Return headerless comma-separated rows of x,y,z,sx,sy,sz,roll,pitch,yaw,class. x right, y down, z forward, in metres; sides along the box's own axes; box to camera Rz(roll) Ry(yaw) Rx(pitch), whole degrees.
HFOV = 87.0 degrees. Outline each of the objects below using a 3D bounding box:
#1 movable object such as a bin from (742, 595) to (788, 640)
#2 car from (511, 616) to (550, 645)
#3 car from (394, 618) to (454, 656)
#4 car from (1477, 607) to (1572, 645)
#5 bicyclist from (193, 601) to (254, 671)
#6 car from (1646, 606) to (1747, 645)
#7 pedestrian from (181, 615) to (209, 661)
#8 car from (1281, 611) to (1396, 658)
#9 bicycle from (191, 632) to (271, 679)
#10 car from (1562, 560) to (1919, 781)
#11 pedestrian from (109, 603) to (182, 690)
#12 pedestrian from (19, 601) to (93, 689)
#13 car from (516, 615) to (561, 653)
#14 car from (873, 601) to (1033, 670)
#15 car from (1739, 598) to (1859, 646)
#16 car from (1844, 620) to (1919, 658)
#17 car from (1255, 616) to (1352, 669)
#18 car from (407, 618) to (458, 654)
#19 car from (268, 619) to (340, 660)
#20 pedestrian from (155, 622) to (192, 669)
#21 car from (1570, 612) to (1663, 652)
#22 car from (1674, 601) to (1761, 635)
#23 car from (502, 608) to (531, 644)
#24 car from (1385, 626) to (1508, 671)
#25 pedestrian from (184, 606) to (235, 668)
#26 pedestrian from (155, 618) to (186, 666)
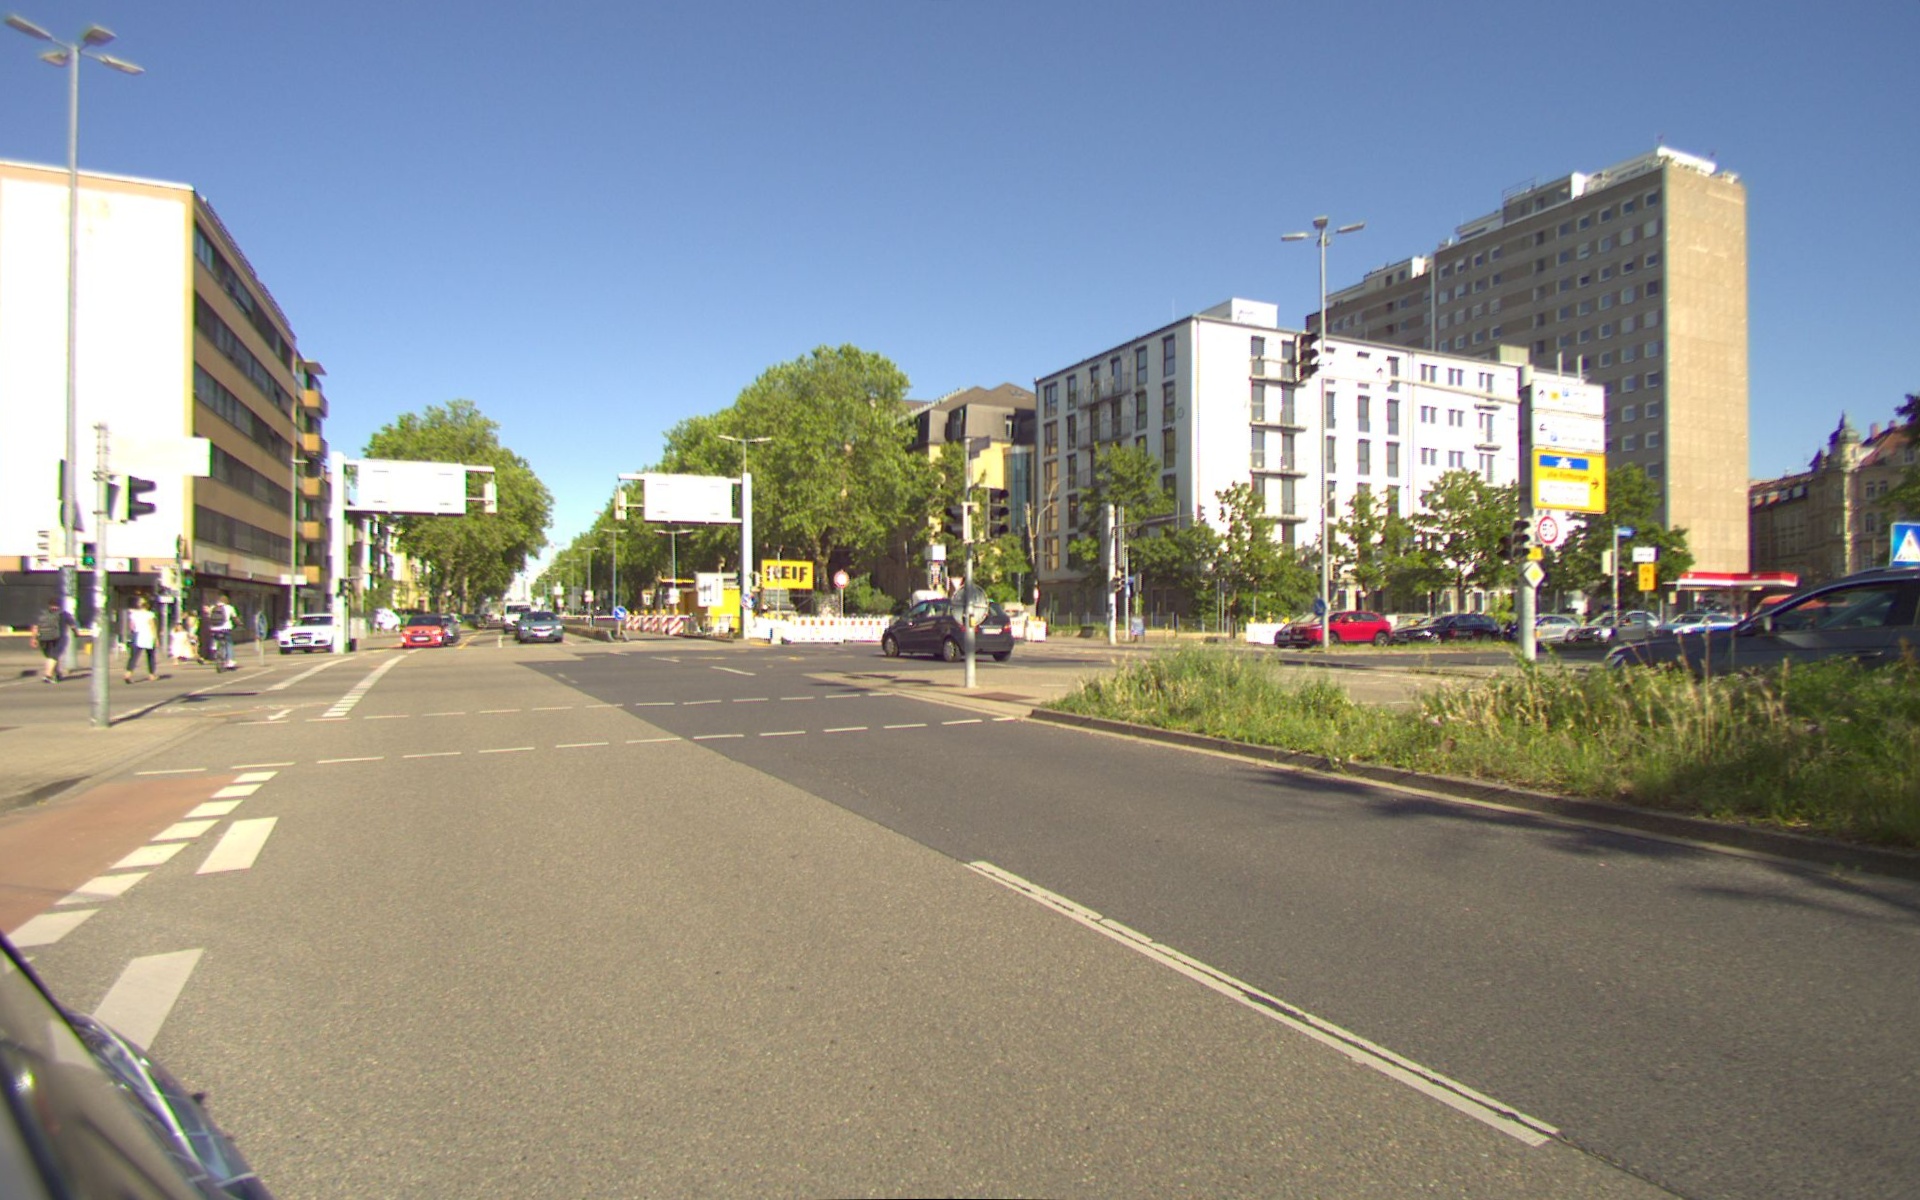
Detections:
-12.087,1.033,62.566,1.965,2.494,4.014,-1,2,-24,movable object such as a bin
-23.837,1.672,56.130,1.852,1.530,4.013,0,-1,-25,car
-23.876,1.606,45.168,1.852,1.530,4.013,-1,0,-21,car
27.089,1.209,48.577,3.931,1.630,1.925,-1,2,-22,car
-16.616,0.795,22.854,0.856,1.545,0.855,-1,0,-13,bicyclist
35.354,1.194,48.564,4.629,1.630,1.925,-1,2,-26,car
-29.232,1.449,38.680,0.707,1.691,0.699,-1,2,-26,pedestrian
14.982,1.347,40.093,3.931,1.630,1.925,-1,2,-18,car
-16.729,1.246,23.273,0.852,0.998,1.908,-1,-1,-14,bicycle
7.263,0.472,7.648,1.770,1.530,4.361,-1,0,-28,car
-15.906,0.887,19.767,0.926,1.619,0.779,1,2,28,pedestrian
-17.919,0.867,20.063,0.980,1.655,0.790,1,2,28,pedestrian
-20.164,1.584,48.576,1.852,1.530,4.014,-1,2,-21,car
-0.268,0.863,25.851,1.833,1.597,4.286,0,-1,-39,car
42.759,1.073,51.598,5.799,2.247,1.925,-1,2,-19,car
50.870,2.110,55.193,4.630,1.828,1.925,-1,2,-20,car
15.112,1.828,44.481,3.933,2.028,2.006,-2,2,-33,car
-27.500,1.852,52.874,1.852,1.530,4.014,-1,2,-21,car
-26.834,1.630,41.535,1.852,1.530,4.564,-1,-2,-25,car
-21.441,1.236,27.589,0.637,1.211,0.528,-1,2,-17,pedestrian
29.938,1.431,46.155,3.931,1.630,1.567,-1,2,-22,car
40.564,0.956,54.195,3.931,1.630,1.925,-1,2,-21,car
-32.601,1.869,74.327,1.852,2.531,4.465,0,-1,-26,car
20.585,2.006,42.872,4.630,1.630,1.925,-1,2,-18,car
-20.546,1.011,27.721,0.883,1.634,0.723,-1,2,-17,pedestrian
-29.329,1.558,37.596,0.695,1.691,0.711,1,2,36,pedestrian
